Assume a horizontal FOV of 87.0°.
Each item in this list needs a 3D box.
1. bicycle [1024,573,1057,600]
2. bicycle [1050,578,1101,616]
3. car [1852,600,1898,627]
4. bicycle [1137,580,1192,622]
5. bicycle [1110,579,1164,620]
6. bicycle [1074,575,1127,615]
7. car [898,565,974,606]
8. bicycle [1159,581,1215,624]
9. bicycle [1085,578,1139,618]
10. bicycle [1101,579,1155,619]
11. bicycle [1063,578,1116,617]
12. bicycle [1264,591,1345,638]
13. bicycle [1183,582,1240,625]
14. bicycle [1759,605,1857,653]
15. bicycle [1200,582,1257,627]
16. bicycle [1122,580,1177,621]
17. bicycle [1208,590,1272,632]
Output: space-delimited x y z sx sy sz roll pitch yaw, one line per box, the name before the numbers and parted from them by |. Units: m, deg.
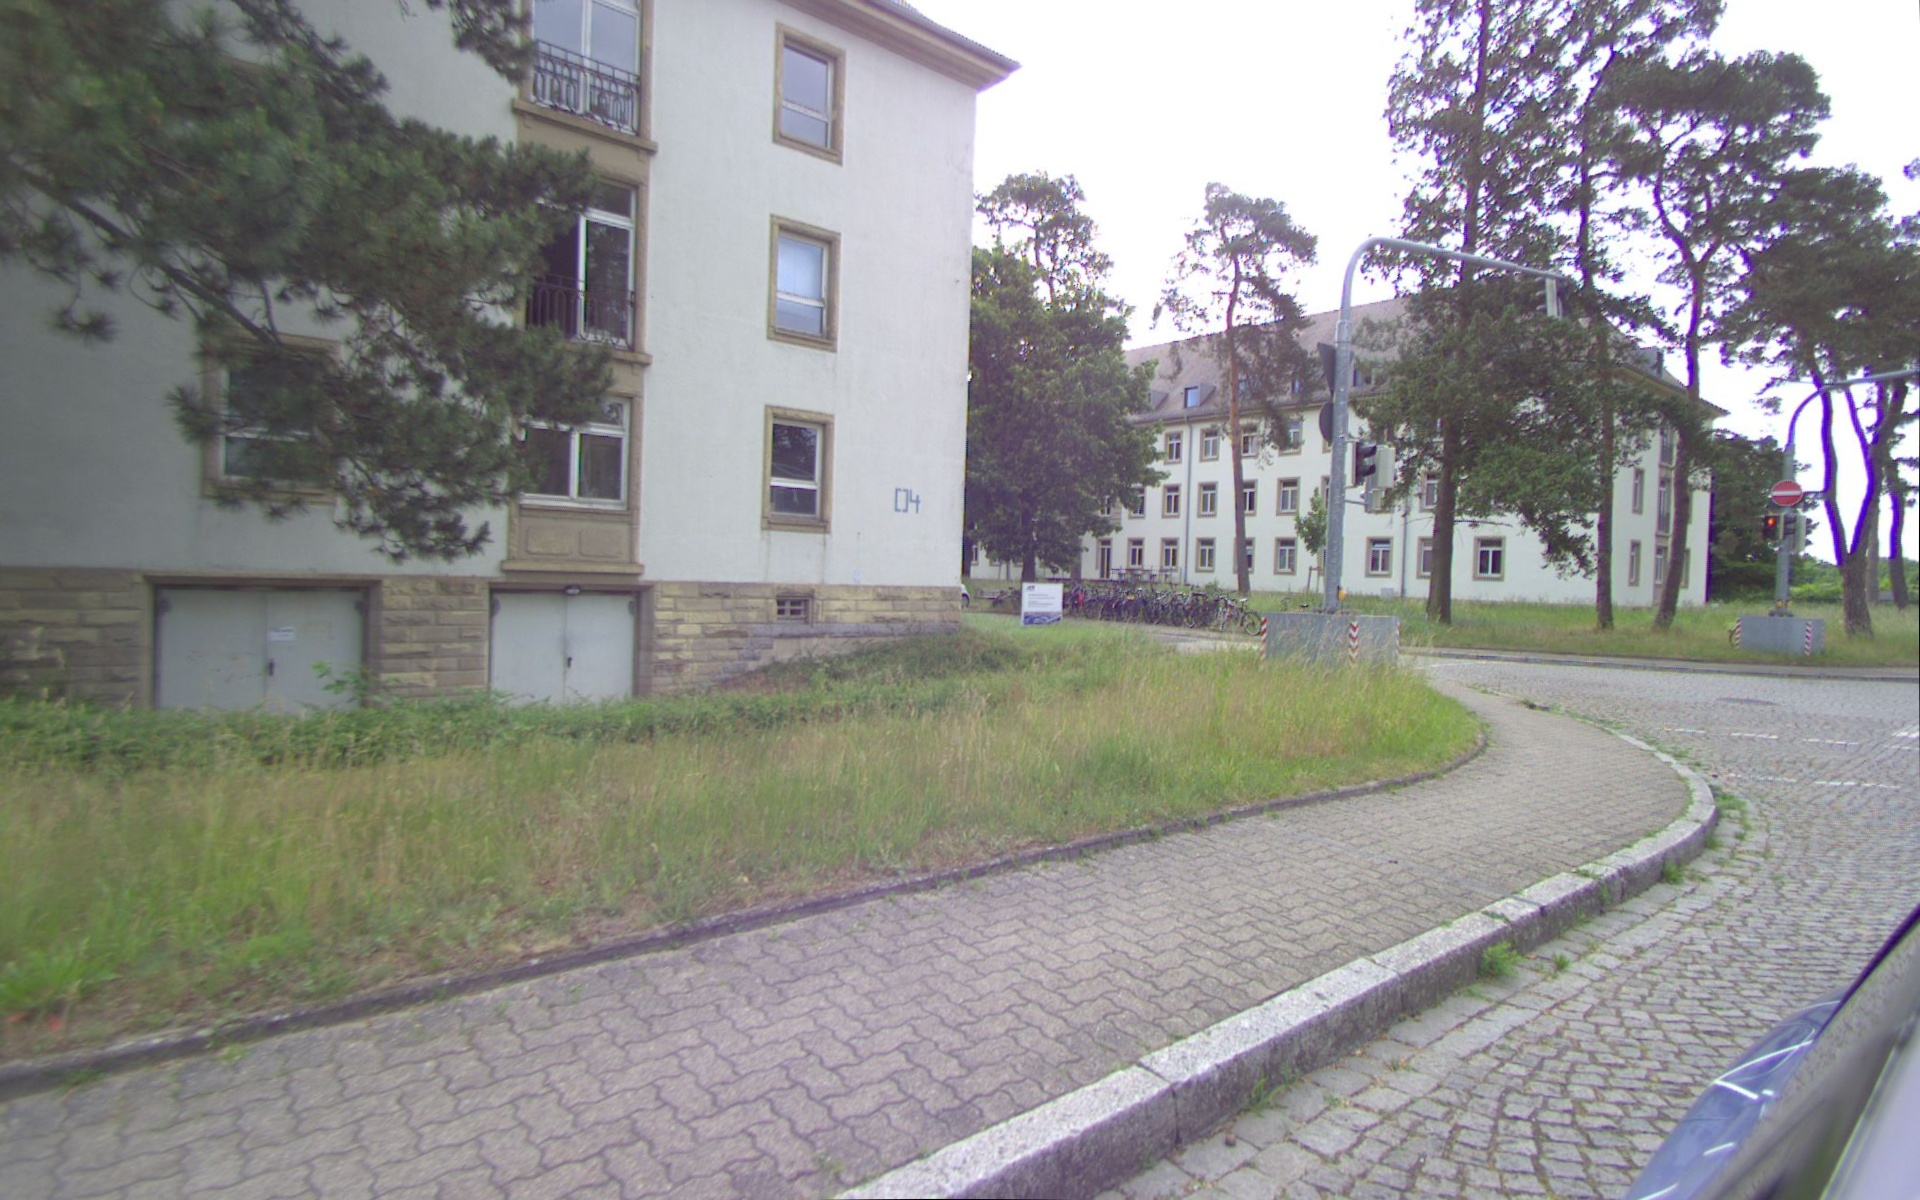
bicycle | 3.533 -0.570 44.164 1.525 1.138 0.401 1 1 -38
bicycle | 4.022 -0.115 35.202 1.954 1.263 0.623 -2 3 -41
car | 54.737 0.808 60.513 3.137 1.455 1.487 2 1 -38
bicycle | 6.533 0.042 32.222 1.954 1.263 0.623 2 1 -41
bicycle | 5.812 -0.004 33.126 1.954 1.263 0.623 2 1 -41
bicycle | 4.773 -0.164 34.325 1.954 1.263 0.623 2 1 -41
car | -0.969 -0.602 41.830 2.806 1.576 1.471 0 4 -40
bicycle | 7.081 0.077 31.561 1.954 1.263 0.623 2 1 -41
bicycle | 5.113 -0.047 33.945 1.954 1.263 0.623 2 1 -41
bicycle | 5.547 -0.019 33.352 1.954 1.263 0.623 2 1 -41
bicycle | 4.442 -0.088 34.695 1.954 1.263 0.623 2 1 -41
bicycle | 9.125 0.369 26.871 0.612 1.127 1.989 2 1 -36
bicycle | 7.681 0.114 30.857 1.954 1.263 0.623 2 1 -41
bicycle | 20.610 0.678 24.629 0.571 0.981 1.679 -1 5 -35
bicycle | 8.081 0.139 30.374 1.954 1.263 0.623 2 1 -41
bicycle | 6.135 0.017 32.712 1.954 1.263 0.623 2 1 -41
bicycle | 7.830 0.305 28.333 0.612 1.096 1.678 2 1 -35
